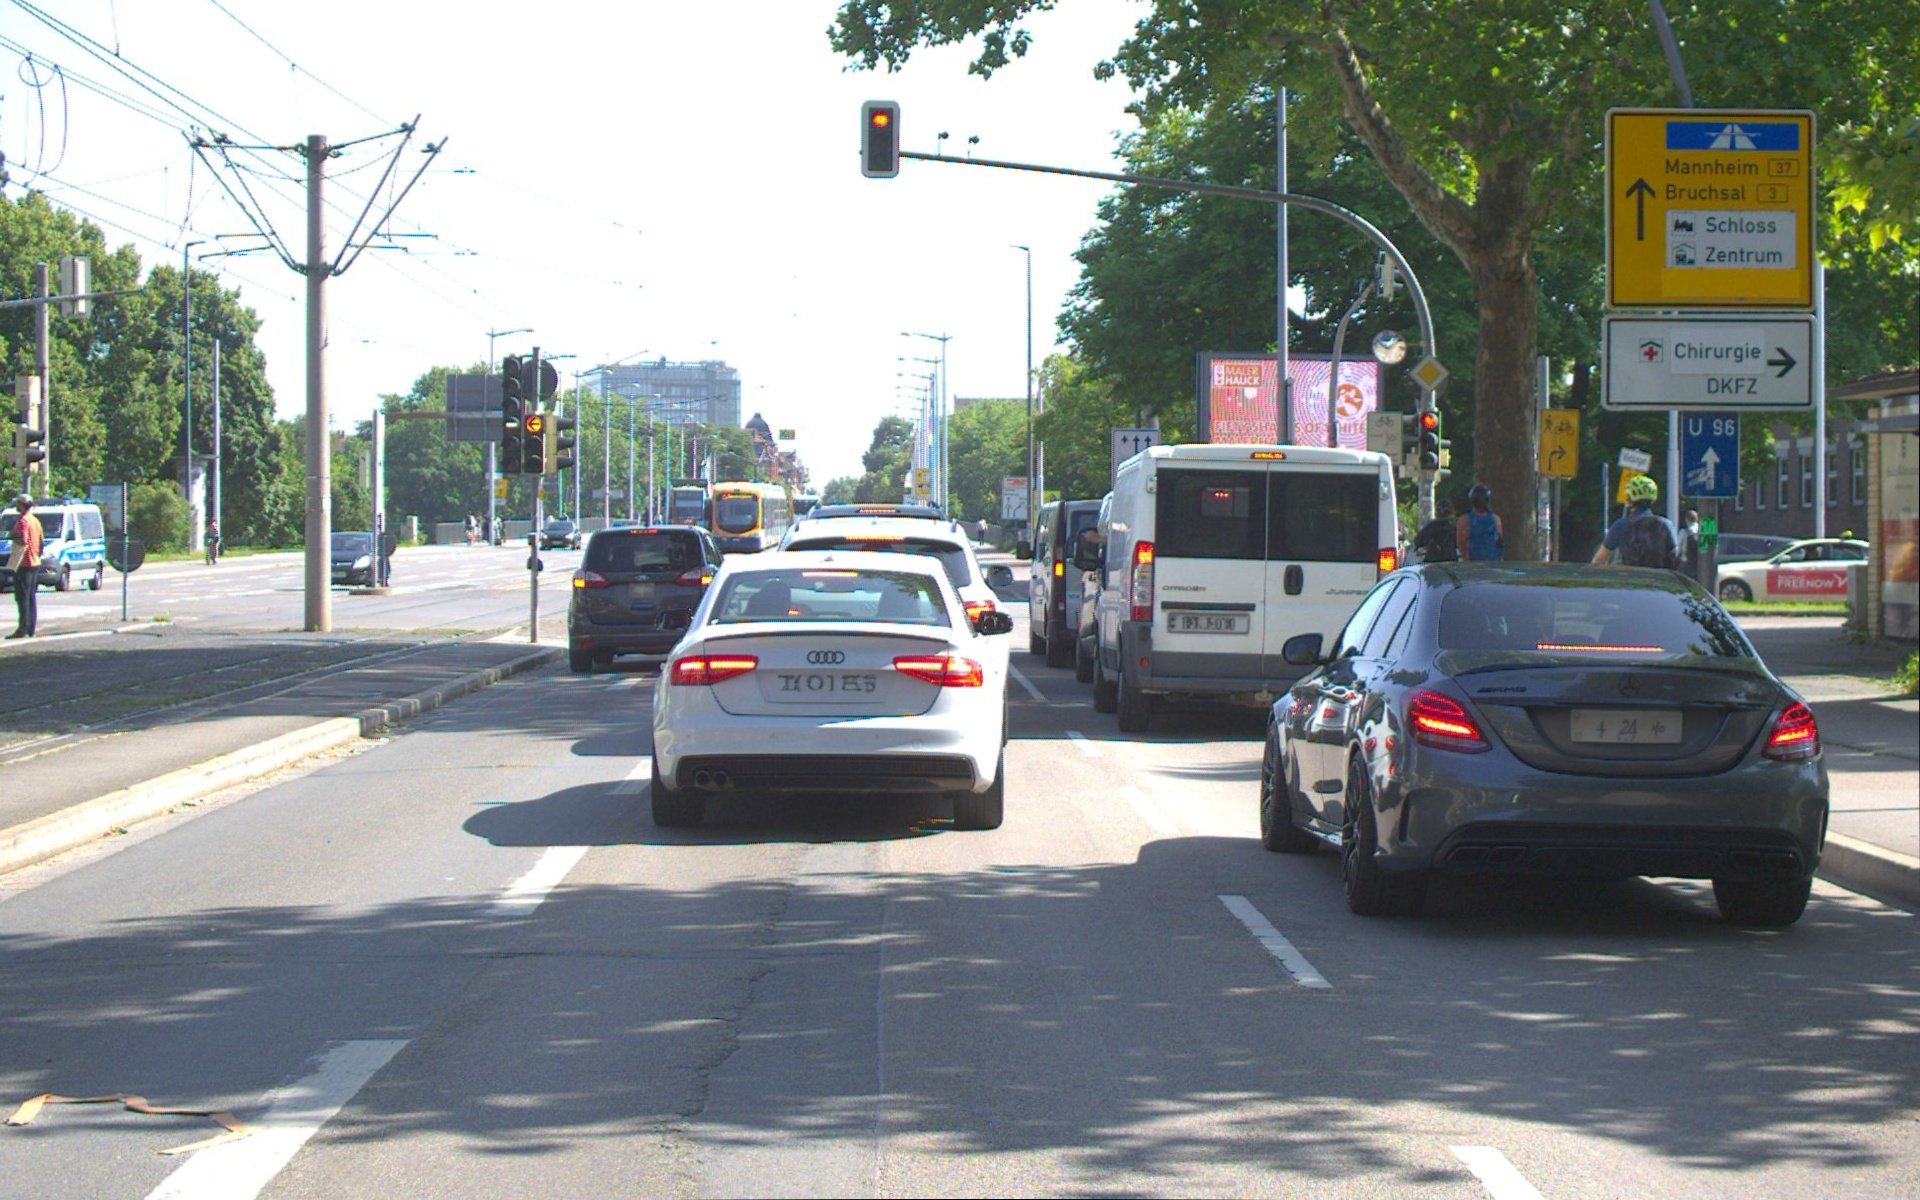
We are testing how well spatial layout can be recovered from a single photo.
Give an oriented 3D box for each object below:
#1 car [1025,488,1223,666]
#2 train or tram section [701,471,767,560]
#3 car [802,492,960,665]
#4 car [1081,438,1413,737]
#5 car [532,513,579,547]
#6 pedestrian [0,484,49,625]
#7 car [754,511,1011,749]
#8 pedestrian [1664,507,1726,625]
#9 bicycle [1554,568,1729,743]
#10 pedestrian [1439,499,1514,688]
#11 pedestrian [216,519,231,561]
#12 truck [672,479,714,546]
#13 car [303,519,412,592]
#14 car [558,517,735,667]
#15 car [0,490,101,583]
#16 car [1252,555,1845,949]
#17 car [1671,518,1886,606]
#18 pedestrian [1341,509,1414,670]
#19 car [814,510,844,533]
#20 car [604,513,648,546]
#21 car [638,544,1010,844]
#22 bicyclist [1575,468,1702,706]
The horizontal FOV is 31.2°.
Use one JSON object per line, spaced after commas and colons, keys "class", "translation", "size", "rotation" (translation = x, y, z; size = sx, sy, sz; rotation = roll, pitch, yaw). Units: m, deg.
{"class": "car", "translation": [1.891, -0.306, 40.913], "size": [2.072, 1.992, 4.058], "rotation": [1, 1, -1]}
{"class": "train or tram section", "translation": [-10.547, -3.945, 160.975], "size": [2.616, 4.001, 7.749], "rotation": [1, 1, -1]}
{"class": "car", "translation": [-0.908, -0.278, 39.984], "size": [1.729, 1.895, 4.000], "rotation": [1, 1, -1]}
{"class": "car", "translation": [2.208, -0.135, 27.691], "size": [2.230, 2.204, 4.162], "rotation": [1, 1, -1]}
{"class": "car", "translation": [-20.125, -3.497, 171.193], "size": [1.993, 1.635, 4.001], "rotation": [1, 1, -2]}
{"class": "pedestrian", "translation": [-12.823, -0.622, 46.842], "size": [0.624, 1.911, 0.690], "rotation": [1, 1, -1]}
{"class": "car", "translation": [-0.562, 0.166, 25.359], "size": [1.729, 1.599, 3.885], "rotation": [1, 1, -1]}
{"class": "pedestrian", "translation": [11.139, -0.520, 52.108], "size": [0.778, 1.782, 0.764], "rotation": [0, 1, 3]}
{"class": "bicycle", "translation": [4.853, 0.369, 24.607], "size": [0.714, 1.144, 2.178], "rotation": [-2, 1, -2]}
{"class": "pedestrian", "translation": [5.363, -0.073, 35.718], "size": [0.635, 1.939, 0.719], "rotation": [1, 1, -1]}
{"class": "pedestrian", "translation": [-27.269, -2.234, 127.299], "size": [0.420, 1.544, 0.552], "rotation": [1, 1, -1]}
{"class": "truck", "translation": [-13.474, -4.408, 173.624], "size": [1.993, 3.313, 6.022], "rotation": [0, 1, -3]}
{"class": "car", "translation": [-14.792, -1.109, 84.579], "size": [1.993, 1.728, 4.000], "rotation": [1, 1, -1]}
{"class": "car", "translation": [-3.570, -0.128, 39.765], "size": [1.729, 1.625, 4.000], "rotation": [1, 1, -1]}
{"class": "car", "translation": [-24.123, -1.681, 90.339], "size": [2.114, 2.374, 4.000], "rotation": [0, 1, -1]}
{"class": "car", "translation": [2.357, 0.541, 14.781], "size": [1.782, 1.415, 4.000], "rotation": [1, 1, -1]}
{"class": "car", "translation": [16.079, -0.759, 67.650], "size": [3.777, 1.666, 1.793], "rotation": [1, 1, 0]}
{"class": "pedestrian", "translation": [4.497, -0.121, 37.083], "size": [0.602, 1.689, 0.953], "rotation": [-2, 1, -1]}
{"class": "car", "translation": [-9.426, -5.662, 247.770], "size": [1.871, 1.603, 4.000], "rotation": [1, 1, 1]}
{"class": "car", "translation": [-16.812, -3.545, 173.326], "size": [1.993, 1.635, 4.001], "rotation": [1, 1, -2]}
{"class": "car", "translation": [-0.691, 0.422, 18.567], "size": [1.784, 1.416, 3.885], "rotation": [1, 1, -1]}
{"class": "bicyclist", "translation": [4.827, -0.103, 24.505], "size": [0.634, 1.642, 0.979], "rotation": [-2, 1, -2]}
